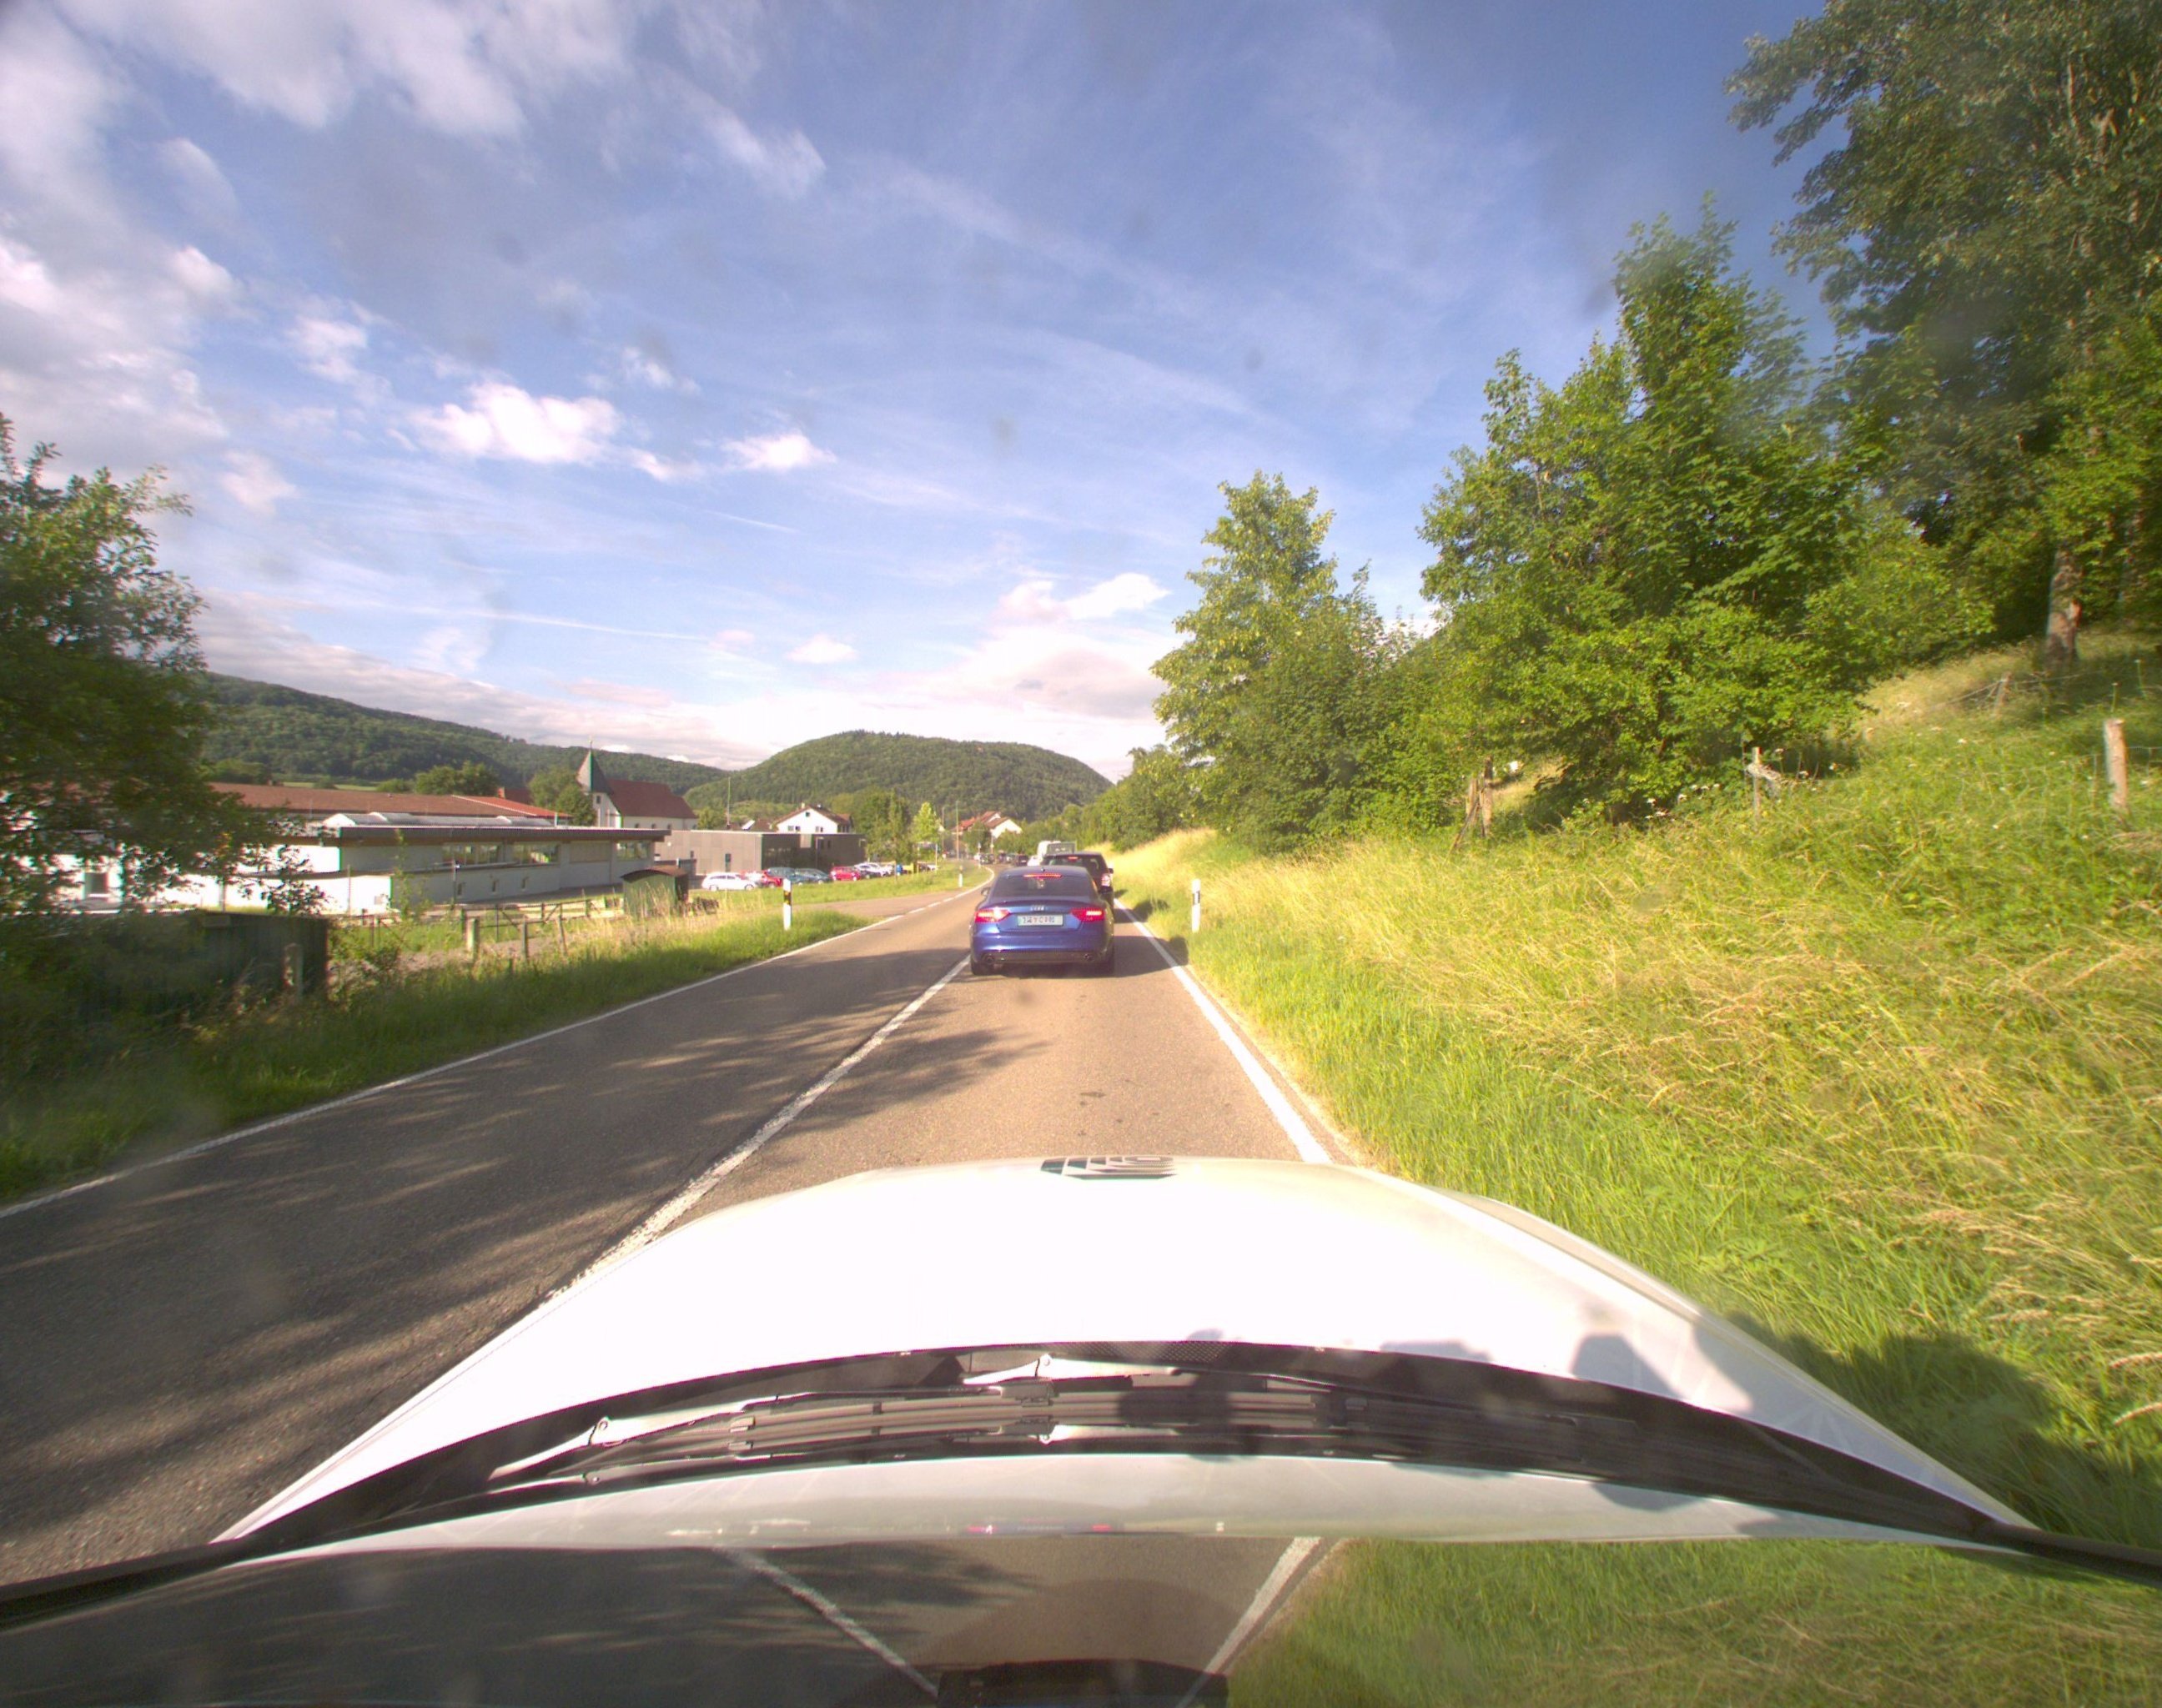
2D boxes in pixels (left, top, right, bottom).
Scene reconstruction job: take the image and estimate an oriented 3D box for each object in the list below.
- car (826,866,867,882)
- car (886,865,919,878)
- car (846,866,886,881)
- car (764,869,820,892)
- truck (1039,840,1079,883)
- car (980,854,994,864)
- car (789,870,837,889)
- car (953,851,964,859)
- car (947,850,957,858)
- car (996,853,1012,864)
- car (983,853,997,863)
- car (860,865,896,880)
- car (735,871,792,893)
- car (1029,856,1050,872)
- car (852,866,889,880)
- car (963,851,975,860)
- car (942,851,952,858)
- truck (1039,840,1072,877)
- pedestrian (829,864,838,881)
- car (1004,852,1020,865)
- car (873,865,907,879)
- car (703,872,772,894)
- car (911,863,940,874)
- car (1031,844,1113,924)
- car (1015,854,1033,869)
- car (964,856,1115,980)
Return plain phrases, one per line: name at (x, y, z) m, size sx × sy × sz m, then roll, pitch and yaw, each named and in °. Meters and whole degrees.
car at (-25.655, 2.198, 89.152) m, size 3.977 × 1.711 × 1.998 m, roll 0°, pitch -1°, yaw -2°
car at (-23.880, 2.355, 109.037) m, size 3.977 × 1.711 × 1.998 m, roll 0°, pitch -1°, yaw -2°
car at (-24.714, 2.229, 93.726) m, size 3.977 × 1.711 × 1.998 m, roll 0°, pitch -1°, yaw -2°
car at (-26.344, 2.382, 74.279) m, size 4.395 × 2.008 × 1.998 m, roll 0°, pitch -1°, yaw -2°
truck at (-1.348, 0.459, 52.284) m, size 2.221 × 2.570 × 6.105 m, roll -1°, pitch -1°, yaw 2°
car at (-13.528, 0.685, 116.834) m, size 1.705 × 1.430 × 4.034 m, roll 0°, pitch -1°, yaw -11°
car at (-25.800, 2.413, 78.415) m, size 3.977 × 1.711 × 1.998 m, roll 0°, pitch -1°, yaw -2°
car at (-26.836, 0.147, 178.403) m, size 1.850 × 1.712 × 3.976 m, roll 0°, pitch -1°, yaw -17°
car at (-29.775, 0.020, 188.112) m, size 1.850 × 1.712 × 3.976 m, roll 0°, pitch -1°, yaw -17°
car at (-11.817, 0.681, 124.255) m, size 1.848 × 1.712 × 3.980 m, roll 0°, pitch -1°, yaw -15°
car at (-15.503, 0.674, 138.913) m, size 1.848 × 1.712 × 3.980 m, roll 0°, pitch -1°, yaw -15°
car at (-25.028, 2.293, 100.667) m, size 3.977 × 1.711 × 1.998 m, roll 0°, pitch -1°, yaw -2°
car at (-26.687, 2.335, 68.569) m, size 3.977 × 1.711 × 1.998 m, roll 0°, pitch -1°, yaw -2°
car at (-4.056, 0.926, 78.676) m, size 1.843 × 1.482 × 3.992 m, roll 0°, pitch -1°, yaw -6°
car at (-25.158, 2.265, 97.383) m, size 3.977 × 1.711 × 1.998 m, roll 0°, pitch -1°, yaw -2°
car at (-22.737, 0.313, 165.650) m, size 1.850 × 1.712 × 3.976 m, roll 0°, pitch -1°, yaw -17°
car at (-32.585, 0.104, 198.291) m, size 1.850 × 1.712 × 3.976 m, roll 0°, pitch -1°, yaw -17°
truck at (-1.988, 0.353, 60.904) m, size 2.225 × 2.570 × 6.697 m, roll 0°, pitch -1°, yaw -4°
pedestrian at (-31.230, 2.334, 102.610) m, size 0.822 × 2.014 × 0.973 m, roll 0°, pitch -1°, yaw 0°
car at (-9.915, 0.641, 116.768) m, size 1.847 × 1.712 × 3.982 m, roll 0°, pitch -1°, yaw -13°
car at (-24.917, 2.342, 106.454) m, size 3.977 × 1.711 × 1.998 m, roll 0°, pitch -1°, yaw -2°
car at (-27.594, 2.317, 65.549) m, size 4.719 × 1.711 × 1.998 m, roll 0°, pitch -1°, yaw -2°
car at (-23.564, 2.216, 123.479) m, size 3.977 × 1.579 × 1.751 m, roll 0°, pitch -1°, yaw -2°
car at (-0.141, 0.649, 19.263) m, size 1.748 × 1.681 × 3.847 m, roll -1°, pitch -1°, yaw 1°
car at (-6.481, 0.856, 92.160) m, size 1.843 × 1.712 × 3.992 m, roll 0°, pitch -1°, yaw -6°
car at (-0.433, 0.757, 11.389) m, size 1.748 × 1.430 × 3.847 m, roll -1°, pitch -1°, yaw 1°
